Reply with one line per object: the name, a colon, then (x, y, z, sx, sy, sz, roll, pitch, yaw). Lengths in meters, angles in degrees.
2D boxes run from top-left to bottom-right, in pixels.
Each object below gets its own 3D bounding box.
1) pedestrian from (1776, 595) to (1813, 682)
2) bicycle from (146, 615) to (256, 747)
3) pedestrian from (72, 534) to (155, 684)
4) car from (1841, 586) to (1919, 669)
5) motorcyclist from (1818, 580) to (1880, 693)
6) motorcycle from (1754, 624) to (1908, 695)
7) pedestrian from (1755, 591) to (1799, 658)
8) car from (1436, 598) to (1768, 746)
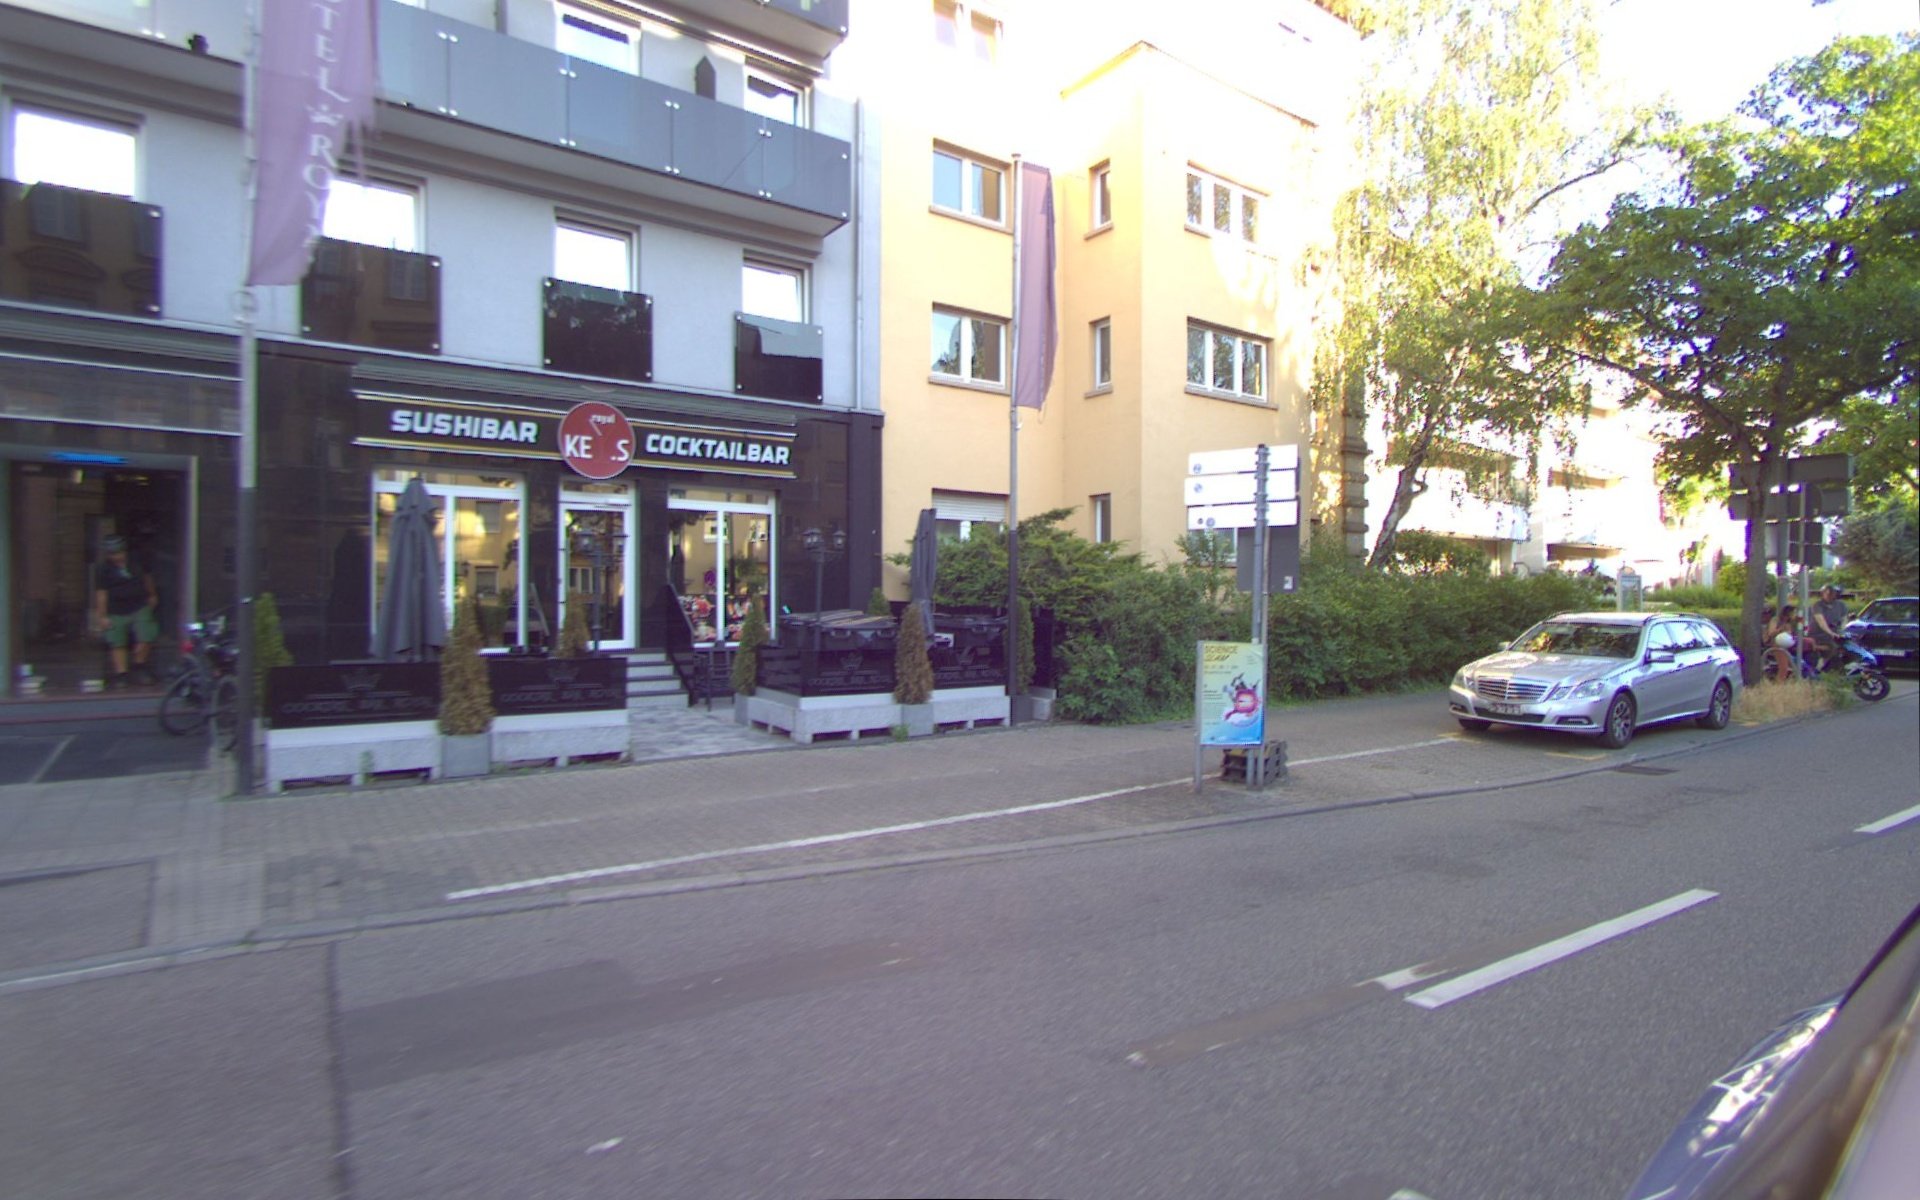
pedestrian: (14.192, 0.640, 17.209, 0.438, 1.448, 0.693, -1, -1, 42)
bicycle: (-7.405, 0.747, 9.860, 1.418, 1.124, 0.482, 3, 2, 37)
pedestrian: (-9.749, 0.098, 11.676, 0.680, 1.664, 0.709, 0, 0, -36)
car: (21.061, 0.543, 21.994, 4.707, 1.676, 1.953, 0, 0, -37)
motorcyclist: (14.786, 0.579, 16.831, 0.735, 1.800, 1.071, -1, -1, 42)
motorcycle: (14.582, 0.967, 16.988, 1.925, 1.084, 0.807, 0, 0, 43)
pedestrian: (20.396, 0.592, 25.260, 0.569, 1.636, 0.748, 0, 0, -38)
car: (8.278, 0.762, 12.904, 4.742, 1.531, 1.862, 0, 1, -35)
